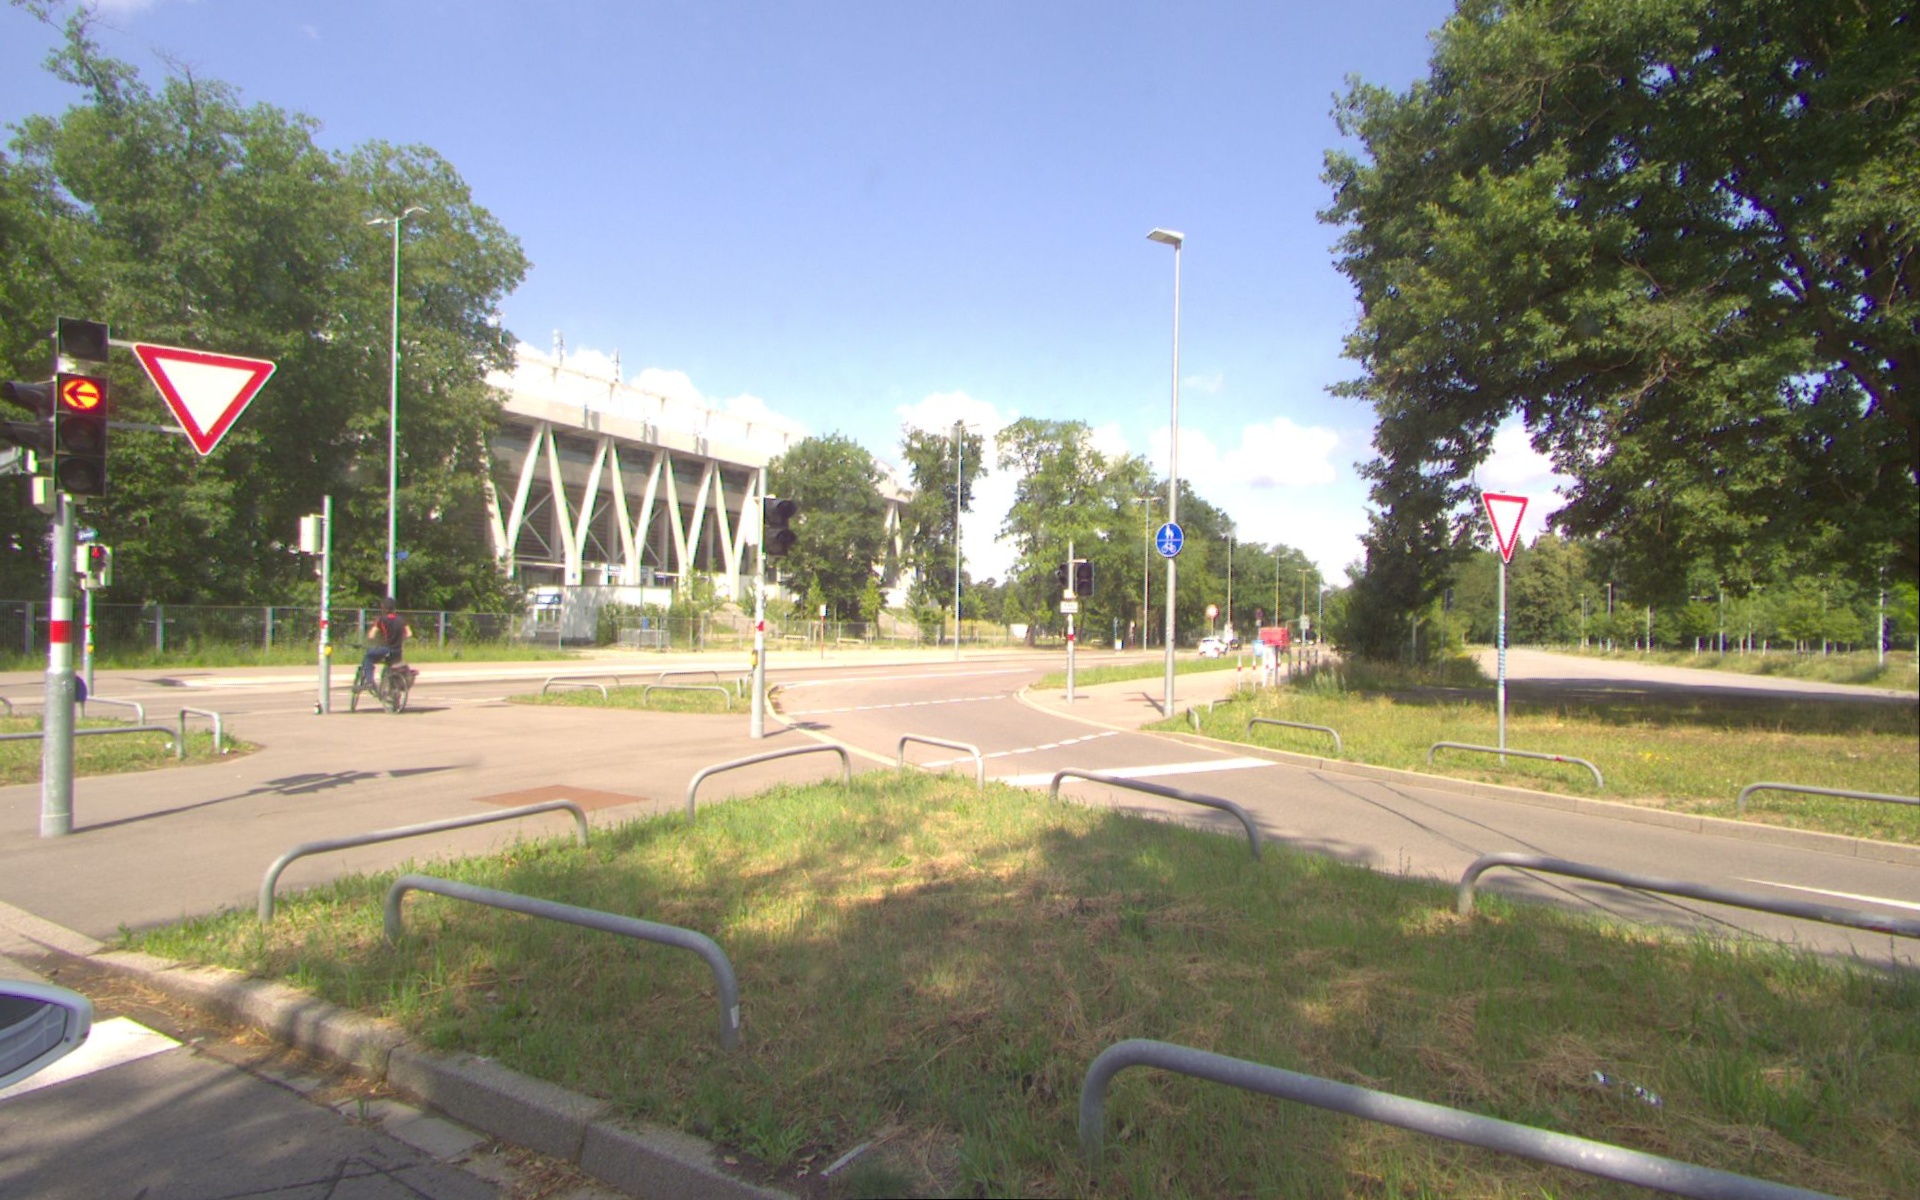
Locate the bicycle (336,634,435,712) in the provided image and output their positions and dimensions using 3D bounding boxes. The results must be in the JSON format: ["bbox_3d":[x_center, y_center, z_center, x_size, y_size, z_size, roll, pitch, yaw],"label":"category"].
[{"bbox_3d":[-9.528,1.172,16.591,1.876,1.221,0.876,-2,-2,42],"label":"bicycle"}]

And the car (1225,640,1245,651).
[{"bbox_3d":[36.923,6.064,134.532,1.580,1.395,3.956,-1,-2,32],"label":"car"}]

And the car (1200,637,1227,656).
[{"bbox_3d":[21.945,4.007,86.762,1.334,1.544,3.460,-1,-2,31],"label":"car"}]

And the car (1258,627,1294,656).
[{"bbox_3d":[27.358,3.579,86.596,2.031,2.440,3.982,-1,-2,31],"label":"car"}]

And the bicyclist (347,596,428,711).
[{"bbox_3d":[-9.457,0.870,16.543,0.967,1.820,0.880,-1,-2,41],"label":"bicyclist"}]
